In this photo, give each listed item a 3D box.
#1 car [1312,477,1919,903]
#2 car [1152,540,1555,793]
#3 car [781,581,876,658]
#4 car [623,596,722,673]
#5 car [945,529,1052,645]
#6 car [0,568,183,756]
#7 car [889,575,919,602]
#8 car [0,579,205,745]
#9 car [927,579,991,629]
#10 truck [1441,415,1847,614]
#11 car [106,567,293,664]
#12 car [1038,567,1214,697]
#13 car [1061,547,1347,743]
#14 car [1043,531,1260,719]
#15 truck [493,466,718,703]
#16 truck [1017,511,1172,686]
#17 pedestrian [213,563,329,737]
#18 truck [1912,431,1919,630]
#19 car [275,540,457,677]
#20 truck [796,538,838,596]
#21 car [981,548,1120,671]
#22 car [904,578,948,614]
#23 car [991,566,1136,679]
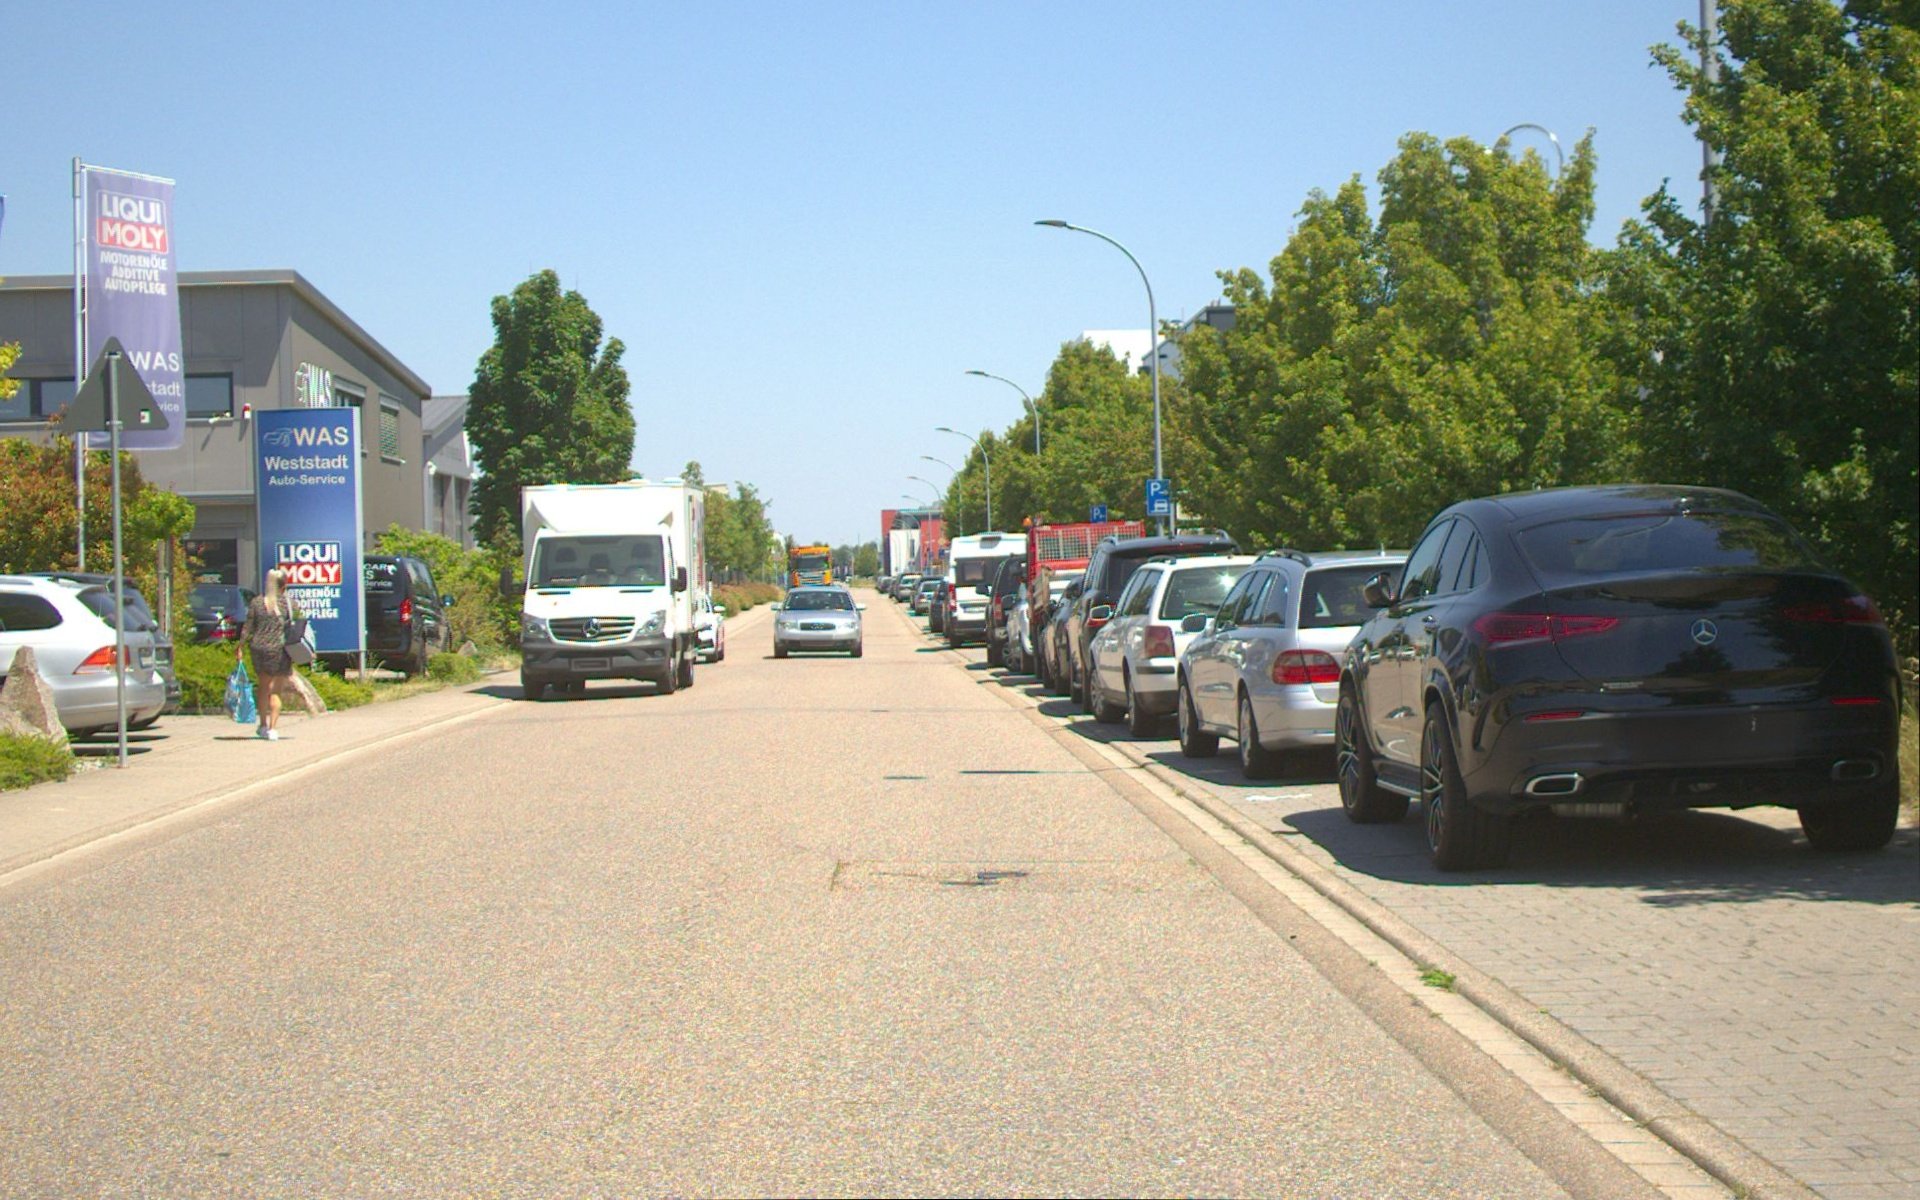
[{"bbox_3d":[3.005,0.352,16.760,1.949,1.695,4.545,-3,1,-1],"label":"car"},{"bbox_3d":[2.573,0.388,23.685,1.804,1.478,4.774,-3,1,-5],"label":"car"},{"bbox_3d":[-2.672,0.385,69.709,1.783,1.417,4.414,-3,0,-2],"label":"car"},{"bbox_3d":[-5.691,0.656,68.428,1.730,1.453,4.492,-1,0,-2],"label":"car"},{"bbox_3d":[0.869,-0.298,78.541,2.267,2.489,6.152,-2,0,0],"label":"car"},{"bbox_3d":[-8.849,0.527,28.827,4.261,1.513,1.866,-1,0,-2],"label":"car"},{"bbox_3d":[-3.144,-0.645,192.034,1.585,1.405,3.500,-1,1,-2],"label":"car"},{"bbox_3d":[-9.188,0.564,31.066,4.309,1.427,1.846,-1,0,0],"label":"car"},{"bbox_3d":[-0.012,0.122,107.866,1.709,1.499,4.705,-2,0,3],"label":"car"},{"bbox_3d":[10.749,-1.329,54.351,5.821,2.903,2.415,-2,0,-2],"label":"truck"},{"bbox_3d":[-11.576,0.220,52.641,1.931,1.412,4.769,0,0,-2],"label":"car"},{"bbox_3d":[1.924,0.353,41.125,1.698,1.378,4.837,-3,0,-1],"label":"car"},{"bbox_3d":[2.023,0.338,29.873,1.713,1.478,4.774,-3,1,-5],"label":"car"},{"bbox_3d":[1.902,0.212,35.498,1.811,1.719,4.774,-3,1,-1],"label":"car"},{"bbox_3d":[-4.698,-0.197,46.584,2.361,2.850,6.415,-3,0,-1],"label":"truck"},{"bbox_3d":[1.781,-0.027,46.794,1.679,2.174,4.390,-3,0,-2],"label":"truck"},{"bbox_3d":[-6.330,0.447,31.596,0.899,1.569,0.785,1,0,-1],"label":"pedestrian"},{"bbox_3d":[21.203,-1.419,65.801,5.062,3.862,2.804,-1,-1,-1],"label":"truck"},{"bbox_3d":[-8.938,0.120,52.150,1.993,1.950,5.218,-1,0,-2],"label":"car"},{"bbox_3d":[-9.102,-2.133,219.129,2.448,3.501,8.273,-3,1,-2],"label":"truck"},{"bbox_3d":[1.455,0.144,57.214,1.993,1.878,5.156,-2,0,-1],"label":"car"},{"bbox_3d":[-1.435,-0.189,144.690,1.718,1.445,3.646,-2,0,-2],"label":"car"},{"bbox_3d":[1.502,0.314,51.254,1.738,1.525,4.000,-3,0,-3],"label":"car"}]
